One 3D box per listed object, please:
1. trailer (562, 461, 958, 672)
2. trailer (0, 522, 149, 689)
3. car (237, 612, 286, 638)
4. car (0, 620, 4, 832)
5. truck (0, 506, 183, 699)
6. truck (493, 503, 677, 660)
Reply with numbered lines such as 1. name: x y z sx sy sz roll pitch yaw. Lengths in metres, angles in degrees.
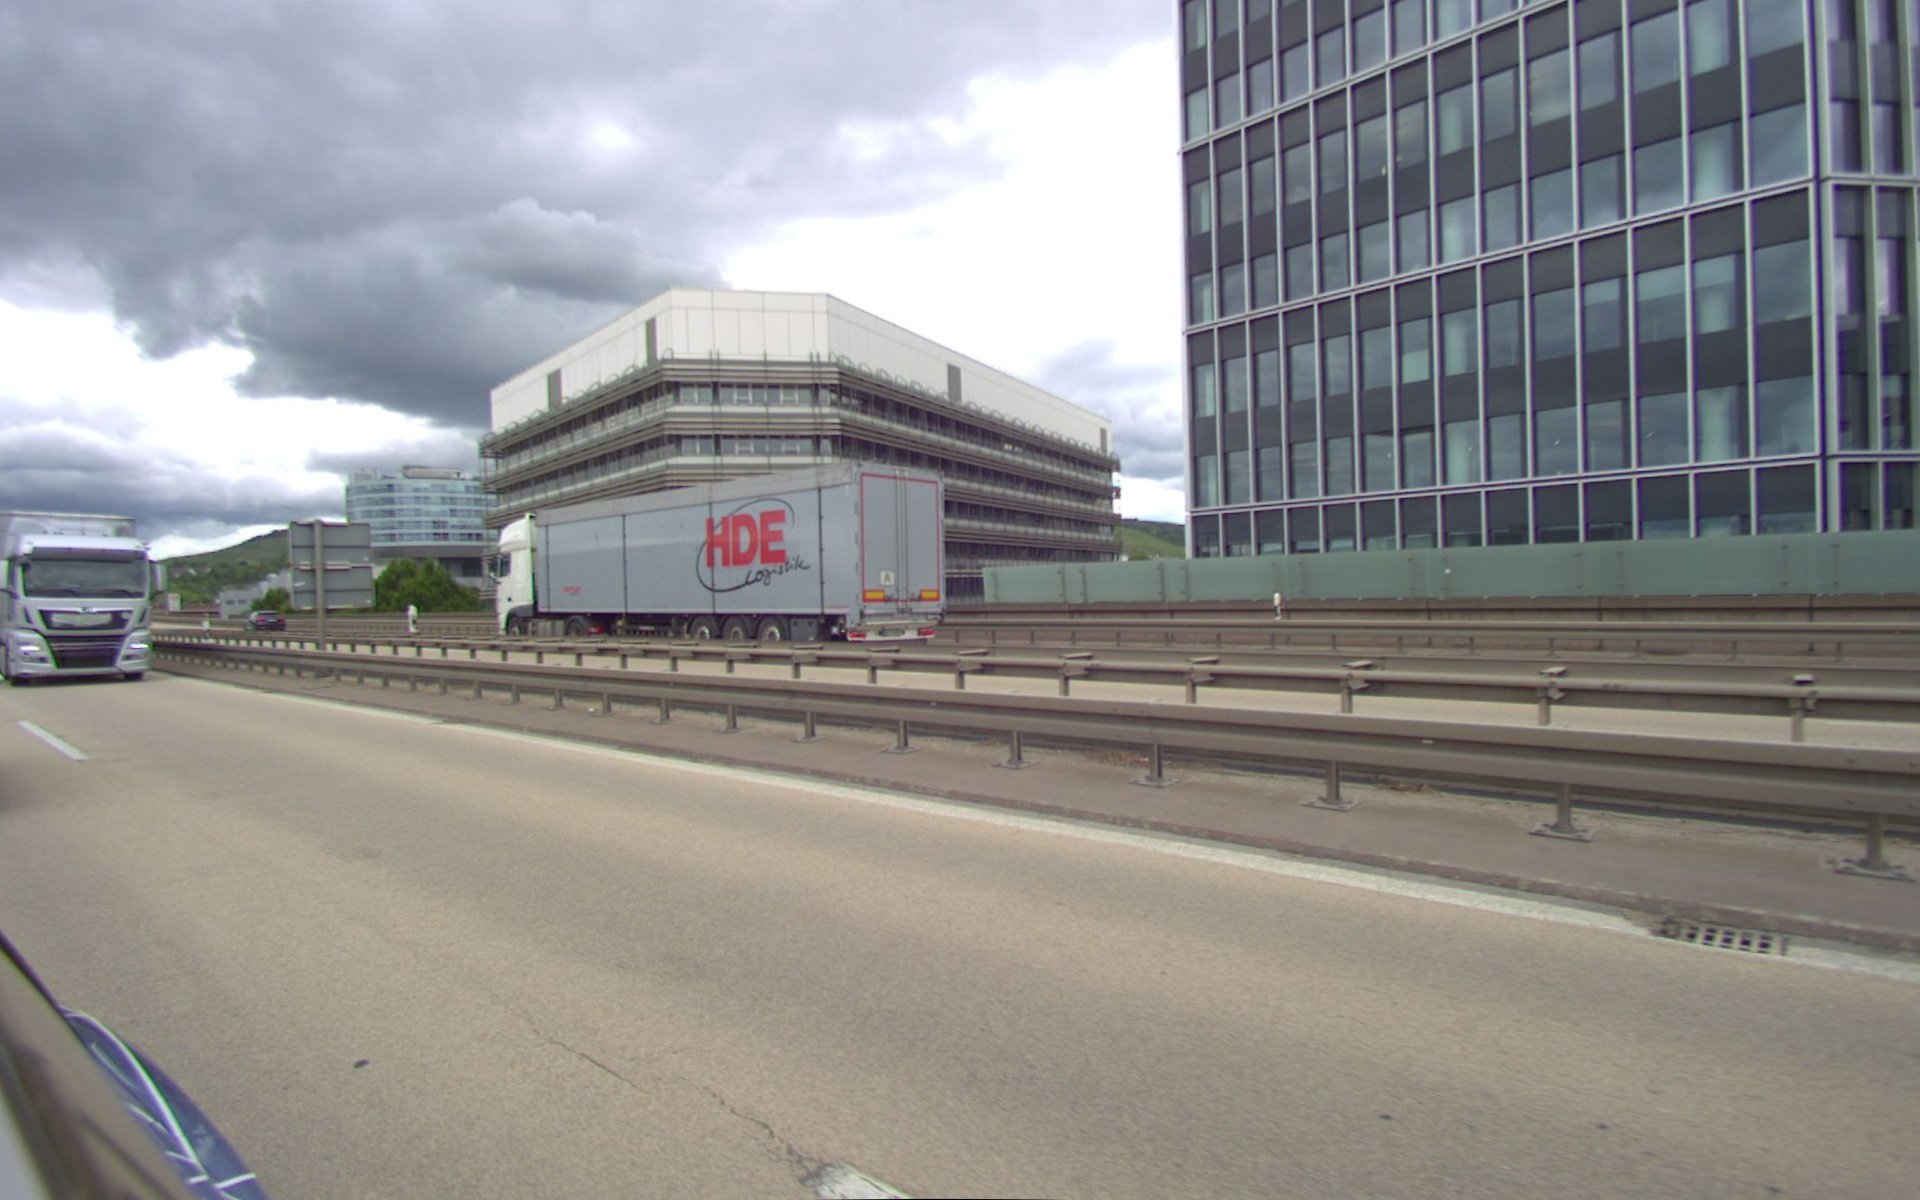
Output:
1. trailer: -5.381 -0.566 24.292 11.884 4.017 2.814 -1 0 43
2. trailer: -26.902 0.168 29.656 11.766 4.056 3.147 -1 1 43
3. car: -47.523 1.685 68.805 4.356 1.662 1.666 -1 1 40
4. car: -9.015 0.940 8.130 1.903 1.519 4.064 0 0 -44
5. truck: -21.283 0.024 24.377 5.689 4.067 3.100 -1 1 43
6. truck: -11.011 -0.455 29.469 5.646 4.110 2.742 -1 -1 43
